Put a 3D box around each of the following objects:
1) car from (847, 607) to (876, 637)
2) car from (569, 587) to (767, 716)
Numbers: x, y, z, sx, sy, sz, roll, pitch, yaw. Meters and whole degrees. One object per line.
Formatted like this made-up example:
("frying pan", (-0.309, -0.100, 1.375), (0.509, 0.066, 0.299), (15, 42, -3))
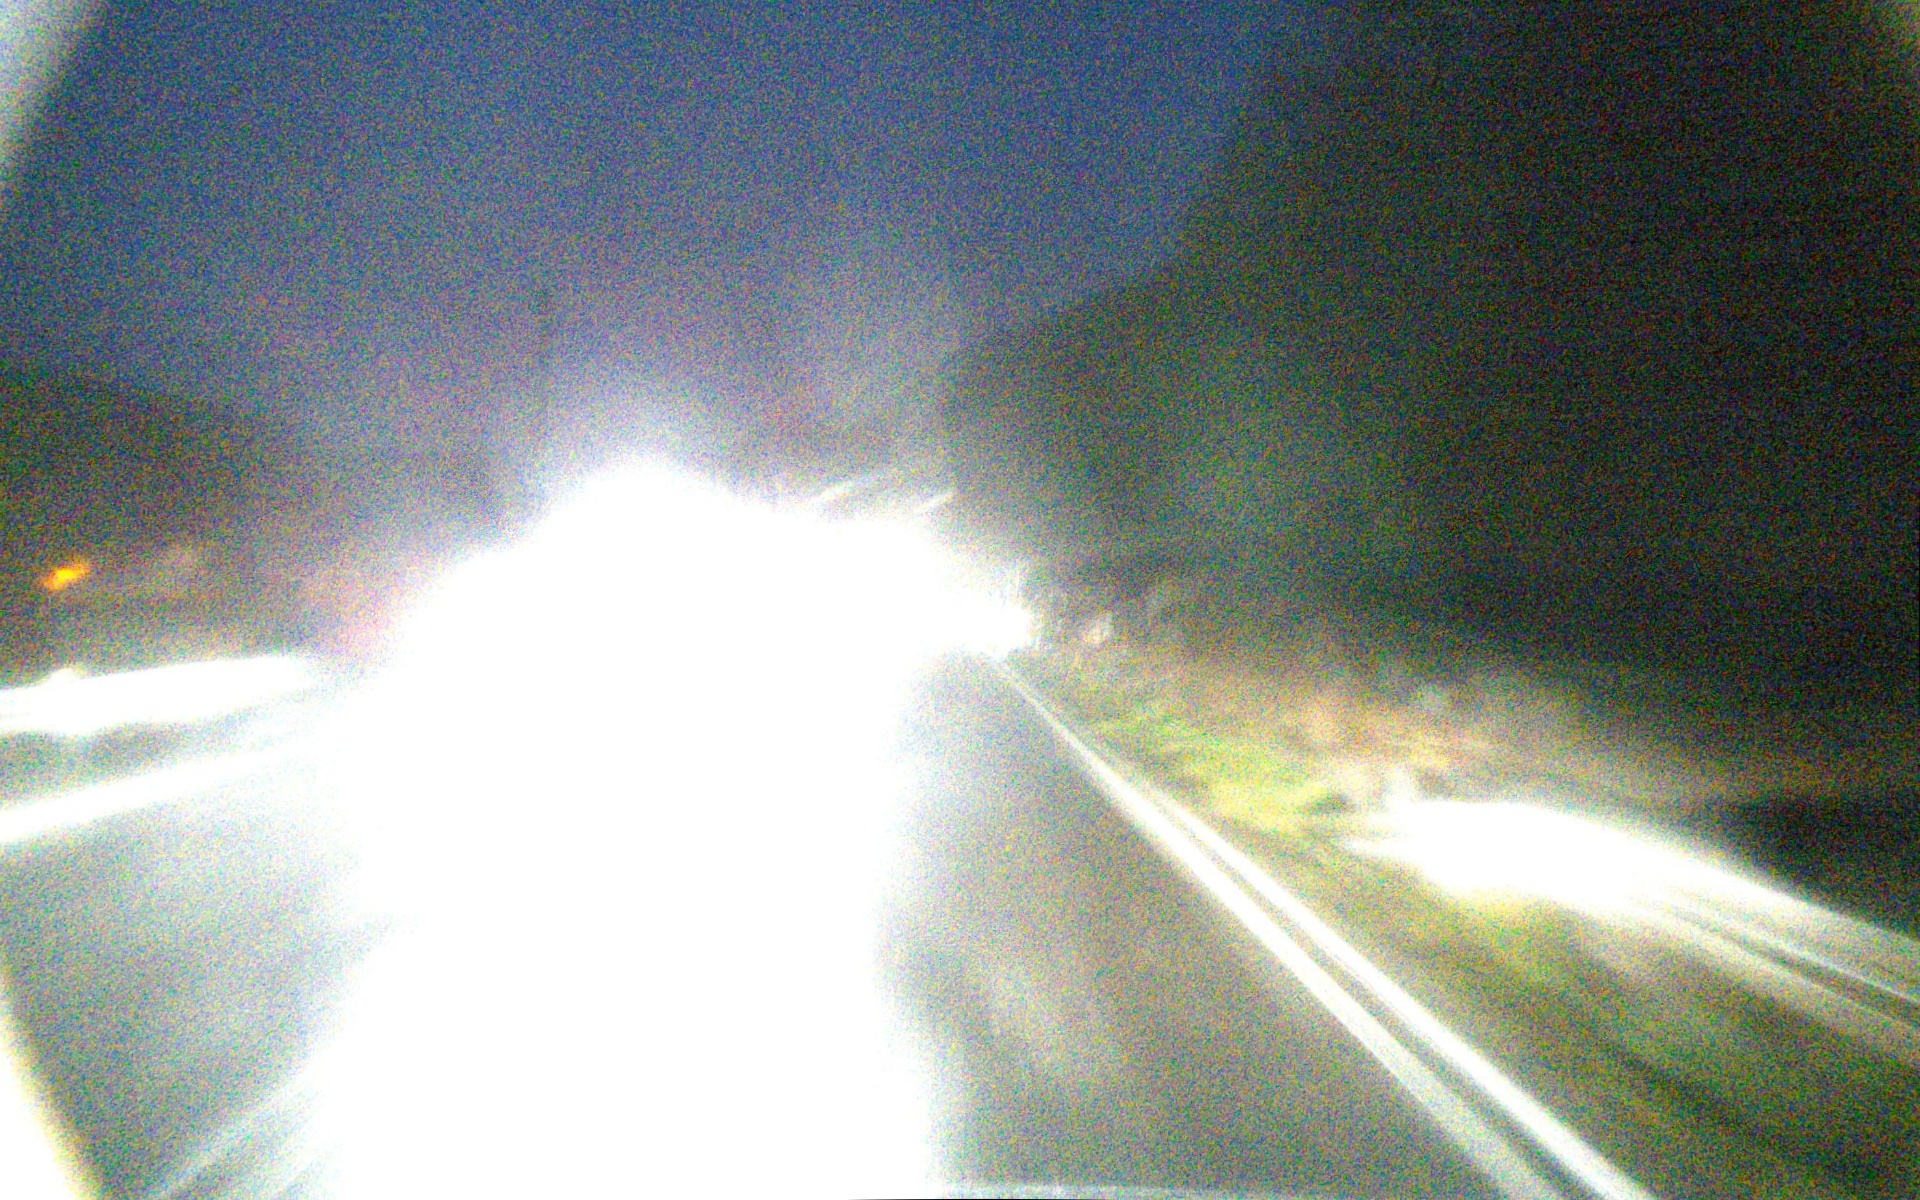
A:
("car", (-7.281, 1.638, 122.694), (1.954, 2.049, 3.997), (5, -2, -3))
("car", (-3.640, 0.589, 21.354), (1.831, 1.473, 4.392), (1, 0, -1))
